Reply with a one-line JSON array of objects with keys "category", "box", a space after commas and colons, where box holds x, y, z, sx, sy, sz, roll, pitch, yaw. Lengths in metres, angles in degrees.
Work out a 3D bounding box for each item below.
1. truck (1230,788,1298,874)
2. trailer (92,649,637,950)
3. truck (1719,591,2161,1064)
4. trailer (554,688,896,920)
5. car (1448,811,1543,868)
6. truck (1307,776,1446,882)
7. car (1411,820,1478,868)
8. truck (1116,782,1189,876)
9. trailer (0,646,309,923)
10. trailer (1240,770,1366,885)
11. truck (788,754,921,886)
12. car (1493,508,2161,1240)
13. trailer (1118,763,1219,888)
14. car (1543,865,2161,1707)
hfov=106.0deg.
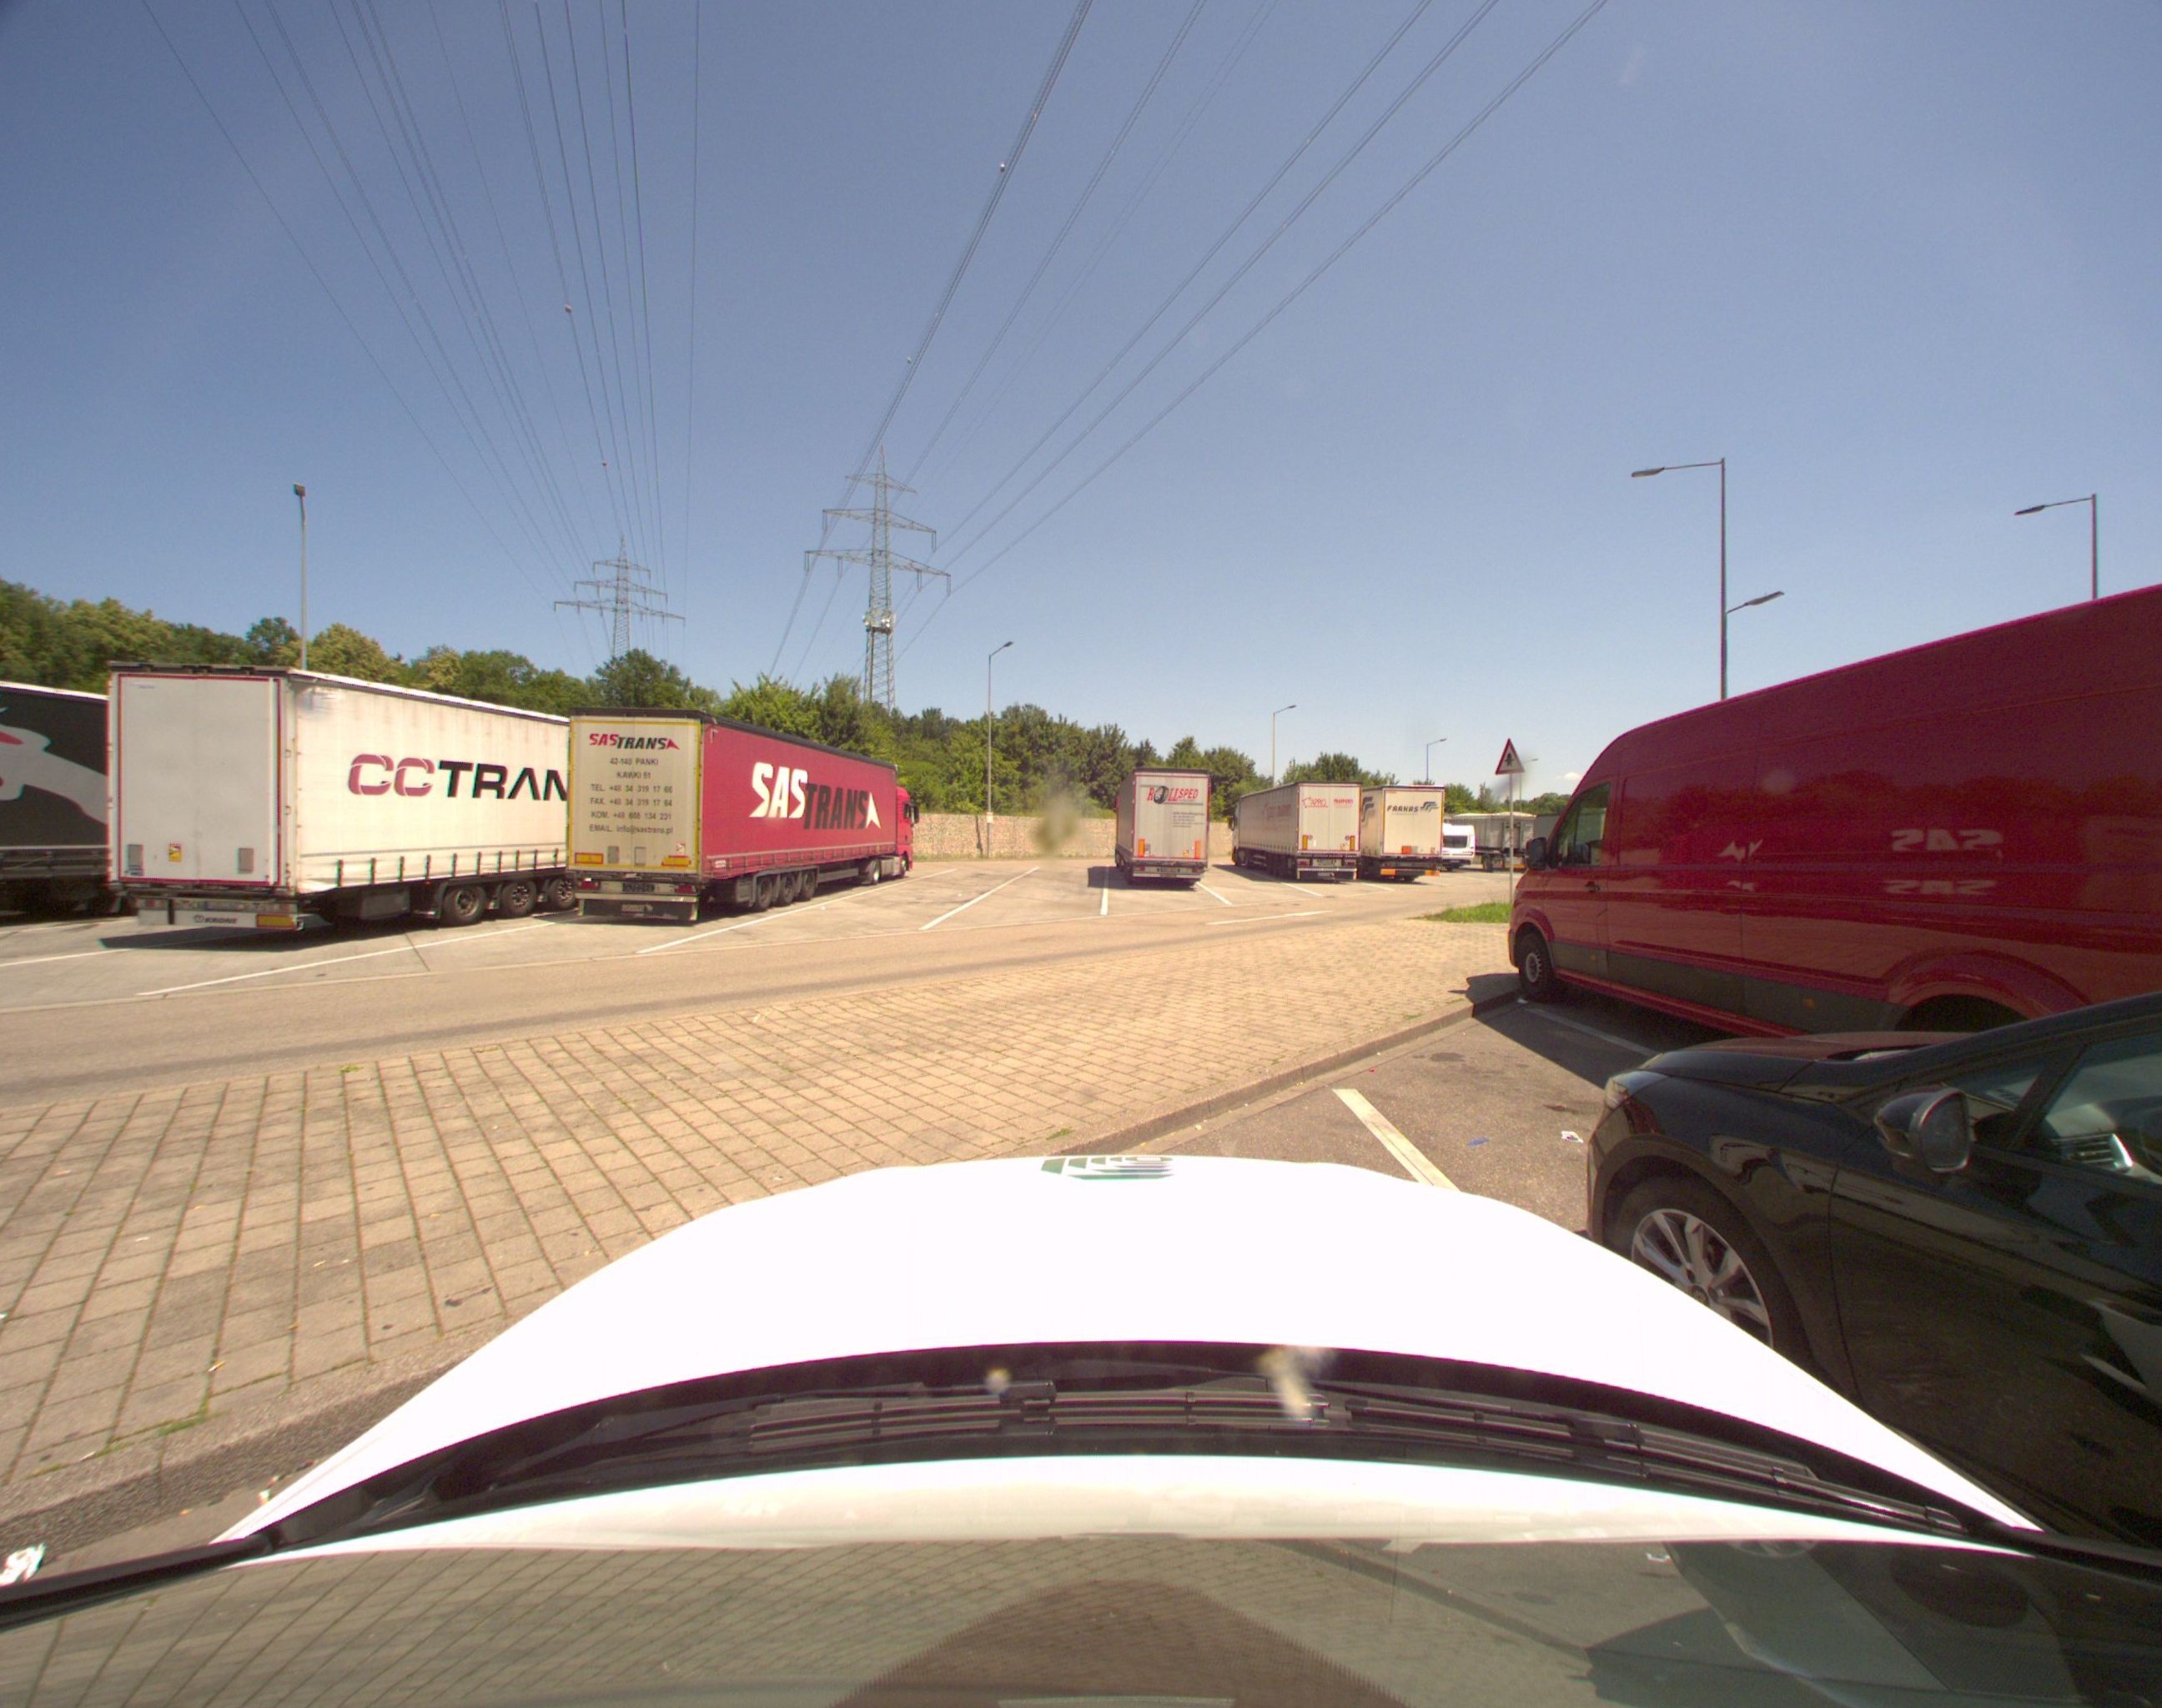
[{"category": "truck", "box": [10.070, -1.244, 45.388, 2.651, 4.452, 5.866, -1, 1, 2]}, {"category": "trailer", "box": [-12.177, -0.813, 15.417, 2.744, 4.152, 8.291, 0, 1, 2]}, {"category": "truck", "box": [7.788, -0.156, 6.042, 2.508, 2.827, 4.821, 0, -1, 3]}, {"category": "trailer", "box": [-8.008, -1.003, 21.487, 2.789, 4.219, 13.208, -1, 1, 2]}, {"category": "car", "box": [24.123, -0.833, 47.791, 2.490, 3.074, 6.353, -1, 1, 2]}, {"category": "truck", "box": [13.523, -0.949, 38.638, 2.577, 4.226, 11.974, 0, -1, 2]}, {"category": "car", "box": [20.526, -0.528, 46.168, 2.107, 2.599, 4.001, 0, -1, 2]}, {"category": "truck", "box": [3.186, -1.098, 37.776, 2.862, 3.980, 6.030, -1, 1, 0]}, {"category": "trailer", "box": [-18.564, -1.129, 14.984, 2.668, 4.444, 6.151, -1, 1, 2]}, {"category": "trailer", "box": [9.890, -1.120, 38.086, 2.672, 4.452, 12.833, -1, 1, 1]}, {"category": "truck", "box": [-7.759, -1.124, 28.744, 2.795, 4.133, 5.896, -1, 1, 2]}, {"category": "car", "box": [5.136, 0.027, 5.528, 1.984, 2.633, 6.393, -1, 1, 5]}, {"category": "trailer", "box": [3.105, -1.011, 32.209, 2.887, 4.013, 11.318, -1, 1, 1]}, {"category": "car", "box": [2.536, 0.757, 0.927, 1.773, 1.457, 3.681, 0, -1, -4]}]
